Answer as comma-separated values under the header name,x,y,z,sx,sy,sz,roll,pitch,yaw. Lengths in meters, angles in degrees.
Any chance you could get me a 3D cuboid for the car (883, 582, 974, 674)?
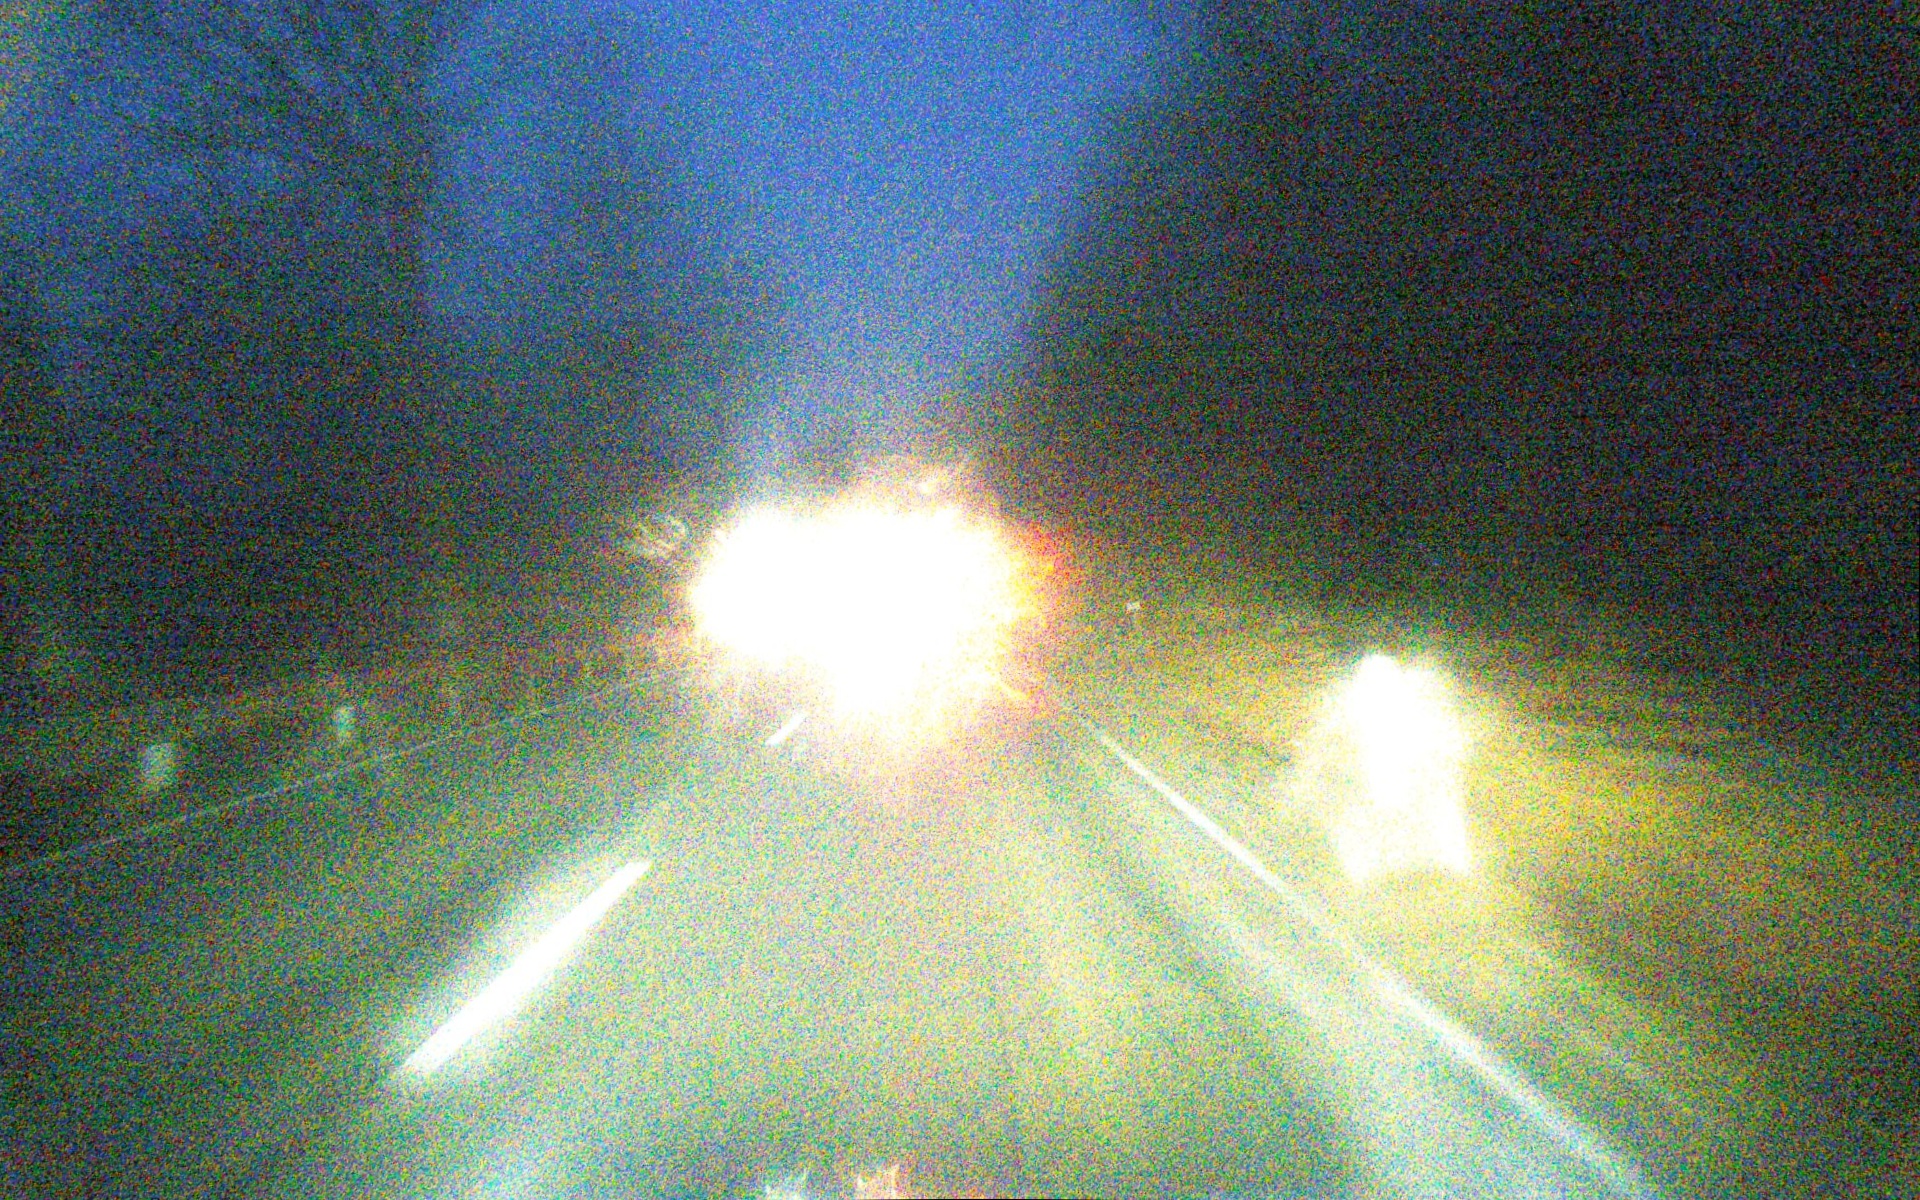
name,x,y,z,sx,sy,sz,roll,pitch,yaw
car,-0.759,0.592,37.889,1.953,1.838,3.916,-1,2,-2
